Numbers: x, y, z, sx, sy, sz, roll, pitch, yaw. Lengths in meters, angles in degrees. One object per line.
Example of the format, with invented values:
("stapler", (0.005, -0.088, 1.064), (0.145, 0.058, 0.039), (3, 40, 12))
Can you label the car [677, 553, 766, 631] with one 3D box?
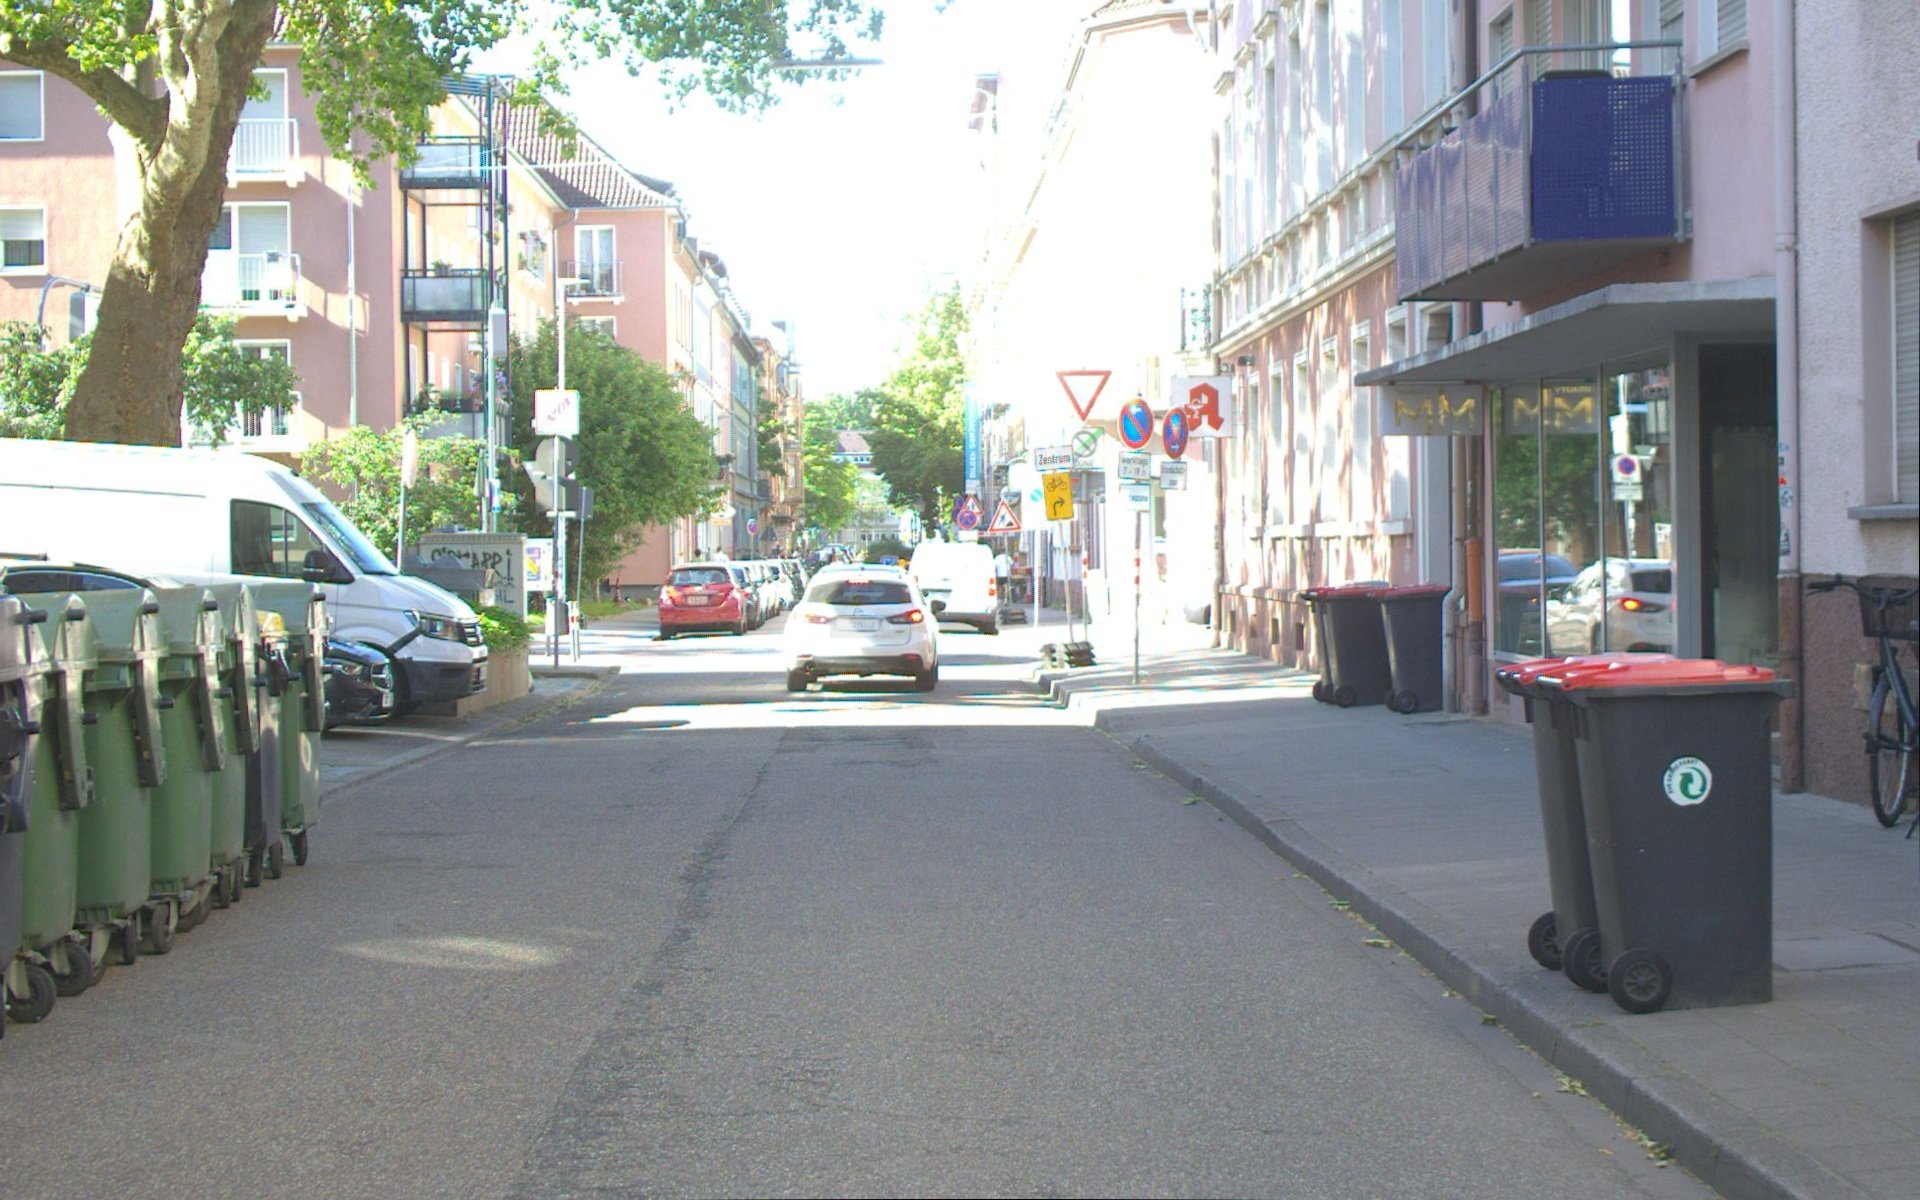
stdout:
("car", (-5.236, -0.187, 75.806), (1.720, 1.677, 3.726), (-1, 0, -1))

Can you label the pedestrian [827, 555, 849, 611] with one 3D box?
("pedestrian", (-3.936, -0.547, 110.998), (0.647, 1.791, 0.639), (-1, 0, 0))

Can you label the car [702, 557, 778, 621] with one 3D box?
("car", (-5.625, -0.274, 88.103), (1.720, 1.571, 3.726), (-1, 0, -1))

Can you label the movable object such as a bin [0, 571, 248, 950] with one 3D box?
("movable object such as a bin", (-3.681, 0.630, 14.063), (1.343, 1.494, 1.018), (0, 0, -1))

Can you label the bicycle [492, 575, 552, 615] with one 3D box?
("bicycle", (-10.383, -0.108, 81.429), (0.603, 0.929, 1.915), (-1, 0, -34))

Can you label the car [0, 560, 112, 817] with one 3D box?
("car", (-7.309, 0.506, 20.924), (3.875, 1.499, 1.827), (0, 0, -2))

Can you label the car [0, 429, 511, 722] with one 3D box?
("car", (-7.932, -0.282, 33.405), (6.739, 2.546, 2.146), (3, 0, 1))

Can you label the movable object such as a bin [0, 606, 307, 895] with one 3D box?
("movable object such as a bin", (-3.794, 0.687, 16.221), (1.241, 1.317, 1.046), (0, 0, -1))

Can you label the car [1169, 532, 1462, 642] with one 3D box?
("car", (6.440, -0.225, 62.251), (4.895, 1.922, 1.997), (0, -1, 24))

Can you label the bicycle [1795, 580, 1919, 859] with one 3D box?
("bicycle", (4.168, 0.489, 15.194), (0.453, 1.130, 1.920), (-3, 0, 1))

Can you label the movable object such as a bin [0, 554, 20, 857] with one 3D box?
("movable object such as a bin", (-5.571, 0.538, 17.517), (1.352, 1.544, 1.121), (0, 0, -7))

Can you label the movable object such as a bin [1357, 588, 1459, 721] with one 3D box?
("movable object such as a bin", (3.775, 0.452, 29.002), (0.729, 1.100, 0.693), (-1, 0, -3))

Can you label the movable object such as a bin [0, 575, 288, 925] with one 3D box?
("movable object such as a bin", (-3.723, 0.636, 15.131), (1.334, 1.486, 1.082), (0, 0, -1))

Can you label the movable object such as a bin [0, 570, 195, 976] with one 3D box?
("movable object such as a bin", (-3.678, 0.629, 13.027), (1.348, 1.482, 1.003), (0, 0, -1))

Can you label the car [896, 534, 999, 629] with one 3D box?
("car", (-0.302, -0.407, 73.487), (1.942, 1.941, 4.079), (1, 1, -4))

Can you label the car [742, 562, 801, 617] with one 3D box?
("car", (-5.599, -0.315, 102.427), (1.572, 1.580, 3.611), (-1, 0, -1))

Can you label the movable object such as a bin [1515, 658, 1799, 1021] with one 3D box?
("movable object such as a bin", (2.163, 0.731, 10.744), (0.732, 1.077, 0.703), (-1, 0, 0))

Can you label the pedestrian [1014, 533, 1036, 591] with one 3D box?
("pedestrian", (1.952, -1.133, 103.066), (0.617, 1.727, 0.560), (-1, 0, -2))

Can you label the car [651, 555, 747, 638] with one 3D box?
("car", (-5.305, -0.086, 70.207), (1.769, 1.583, 3.726), (-1, 1, -2))

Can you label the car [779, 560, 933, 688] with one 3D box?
("car", (-1.300, 0.266, 42.873), (1.823, 1.509, 3.824), (-1, 1, -2))

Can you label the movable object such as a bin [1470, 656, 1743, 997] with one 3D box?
("movable object such as a bin", (2.140, 0.737, 11.458), (0.768, 1.083, 0.693), (-1, 0, 0))

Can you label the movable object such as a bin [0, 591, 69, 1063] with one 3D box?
("movable object such as a bin", (-3.625, 0.716, 10.809), (1.319, 1.445, 1.187), (-2, 0, -1))

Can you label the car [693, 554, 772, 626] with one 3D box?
("car", (-5.359, -0.227, 81.320), (1.635, 1.650, 3.785), (0, 0, -1))

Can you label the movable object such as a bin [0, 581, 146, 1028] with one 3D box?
("movable object such as a bin", (-3.647, 0.697, 11.983), (1.334, 1.479, 1.093), (-2, 0, -1))

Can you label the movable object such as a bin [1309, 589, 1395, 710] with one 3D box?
("movable object such as a bin", (3.526, 0.440, 30.944), (0.701, 1.069, 0.596), (-1, 0, 1))

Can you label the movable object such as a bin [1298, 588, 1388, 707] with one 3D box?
("movable object such as a bin", (3.513, 0.432, 31.576), (0.745, 1.082, 0.634), (-1, 0, 1))

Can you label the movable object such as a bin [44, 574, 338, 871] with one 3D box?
("movable object such as a bin", (-3.848, 0.595, 17.319), (1.300, 1.446, 1.118), (0, 0, -5))

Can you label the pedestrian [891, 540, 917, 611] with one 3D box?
("pedestrian", (-1.689, -0.741, 103.463), (0.771, 2.111, 0.835), (-1, 0, 0))

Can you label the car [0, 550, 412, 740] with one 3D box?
("car", (-7.312, 0.356, 30.617), (4.500, 1.465, 1.929), (3, 1, 0))
